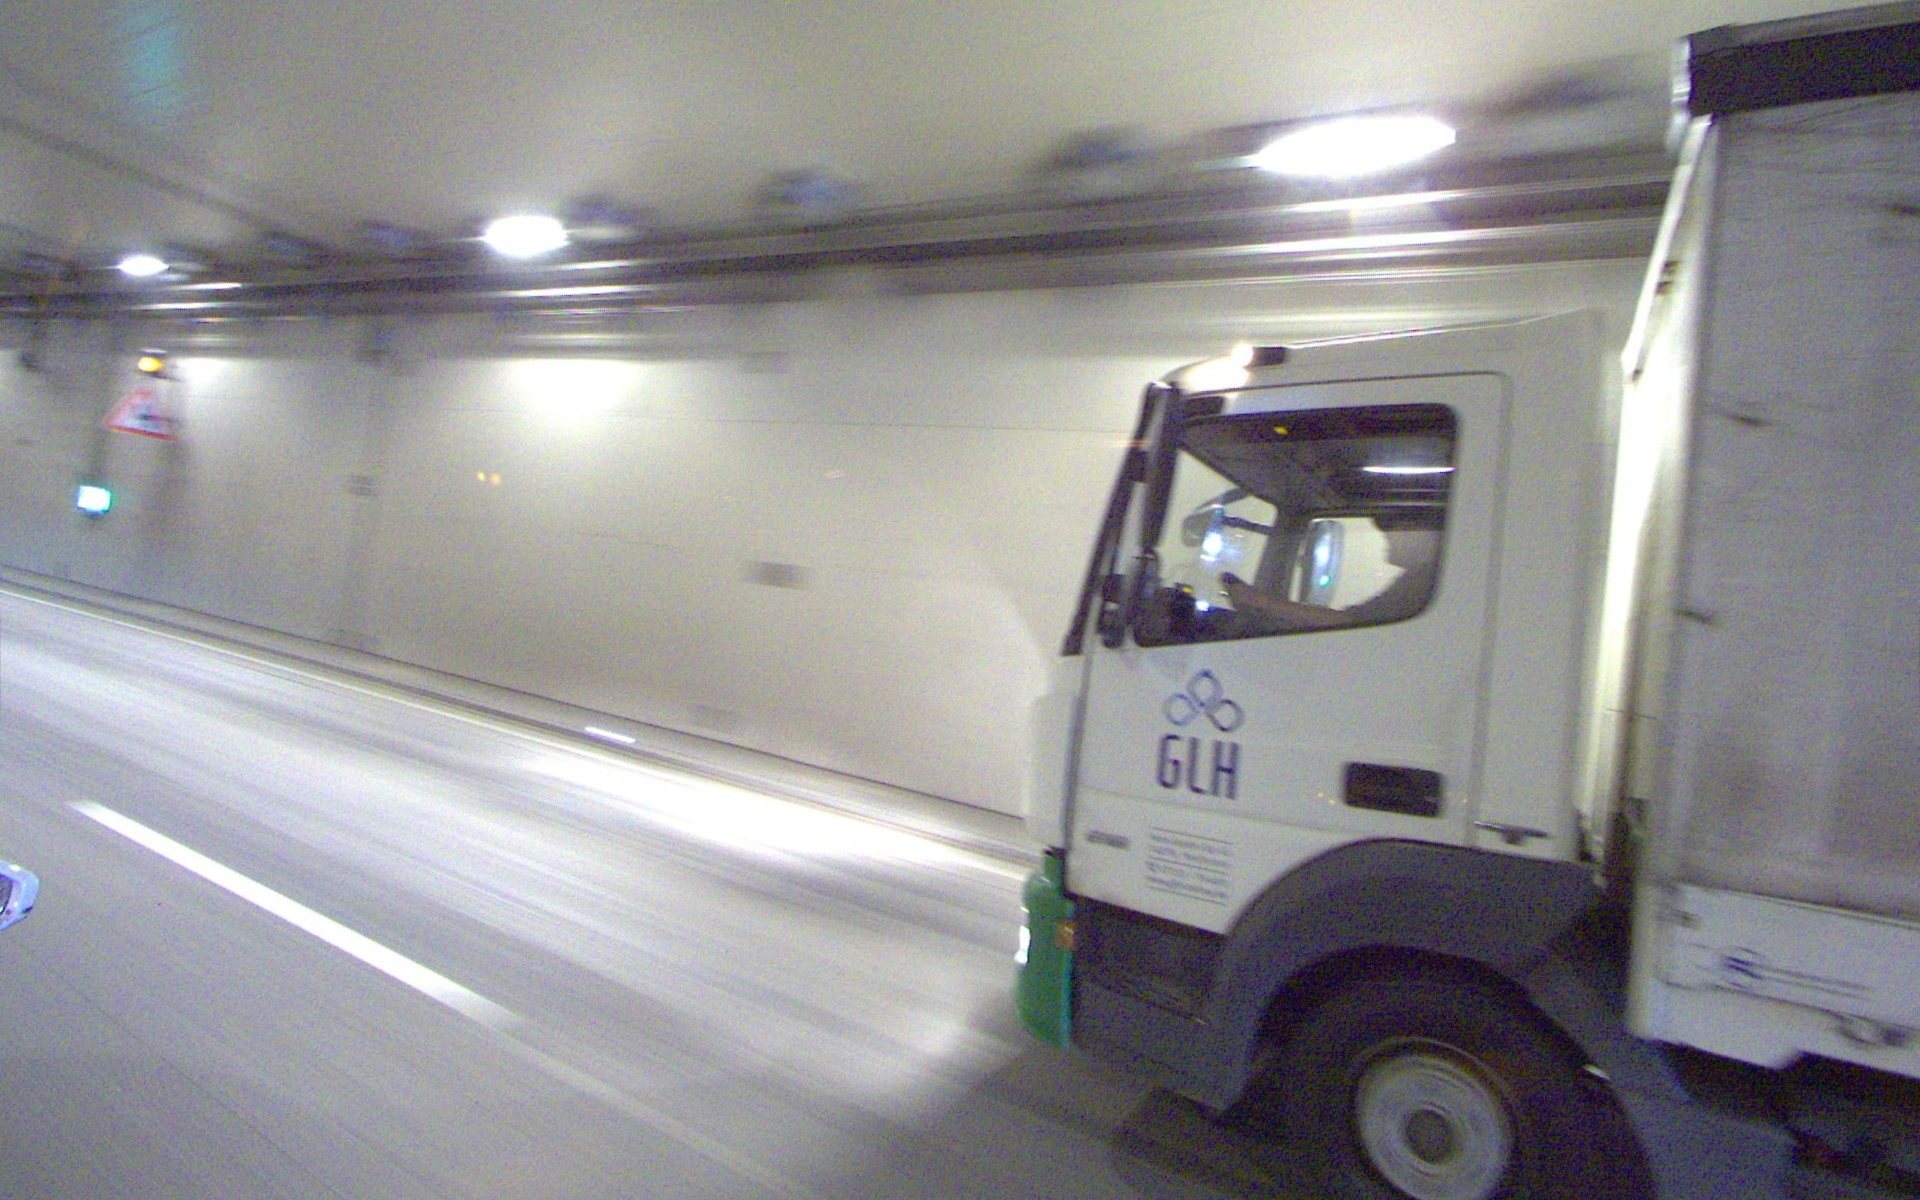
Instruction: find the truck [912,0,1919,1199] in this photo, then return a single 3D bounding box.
[{"bbox_3d":[3.725,0.402,2.426,7.122,3.219,2.558,6,-1,30],"label":"truck"}]
